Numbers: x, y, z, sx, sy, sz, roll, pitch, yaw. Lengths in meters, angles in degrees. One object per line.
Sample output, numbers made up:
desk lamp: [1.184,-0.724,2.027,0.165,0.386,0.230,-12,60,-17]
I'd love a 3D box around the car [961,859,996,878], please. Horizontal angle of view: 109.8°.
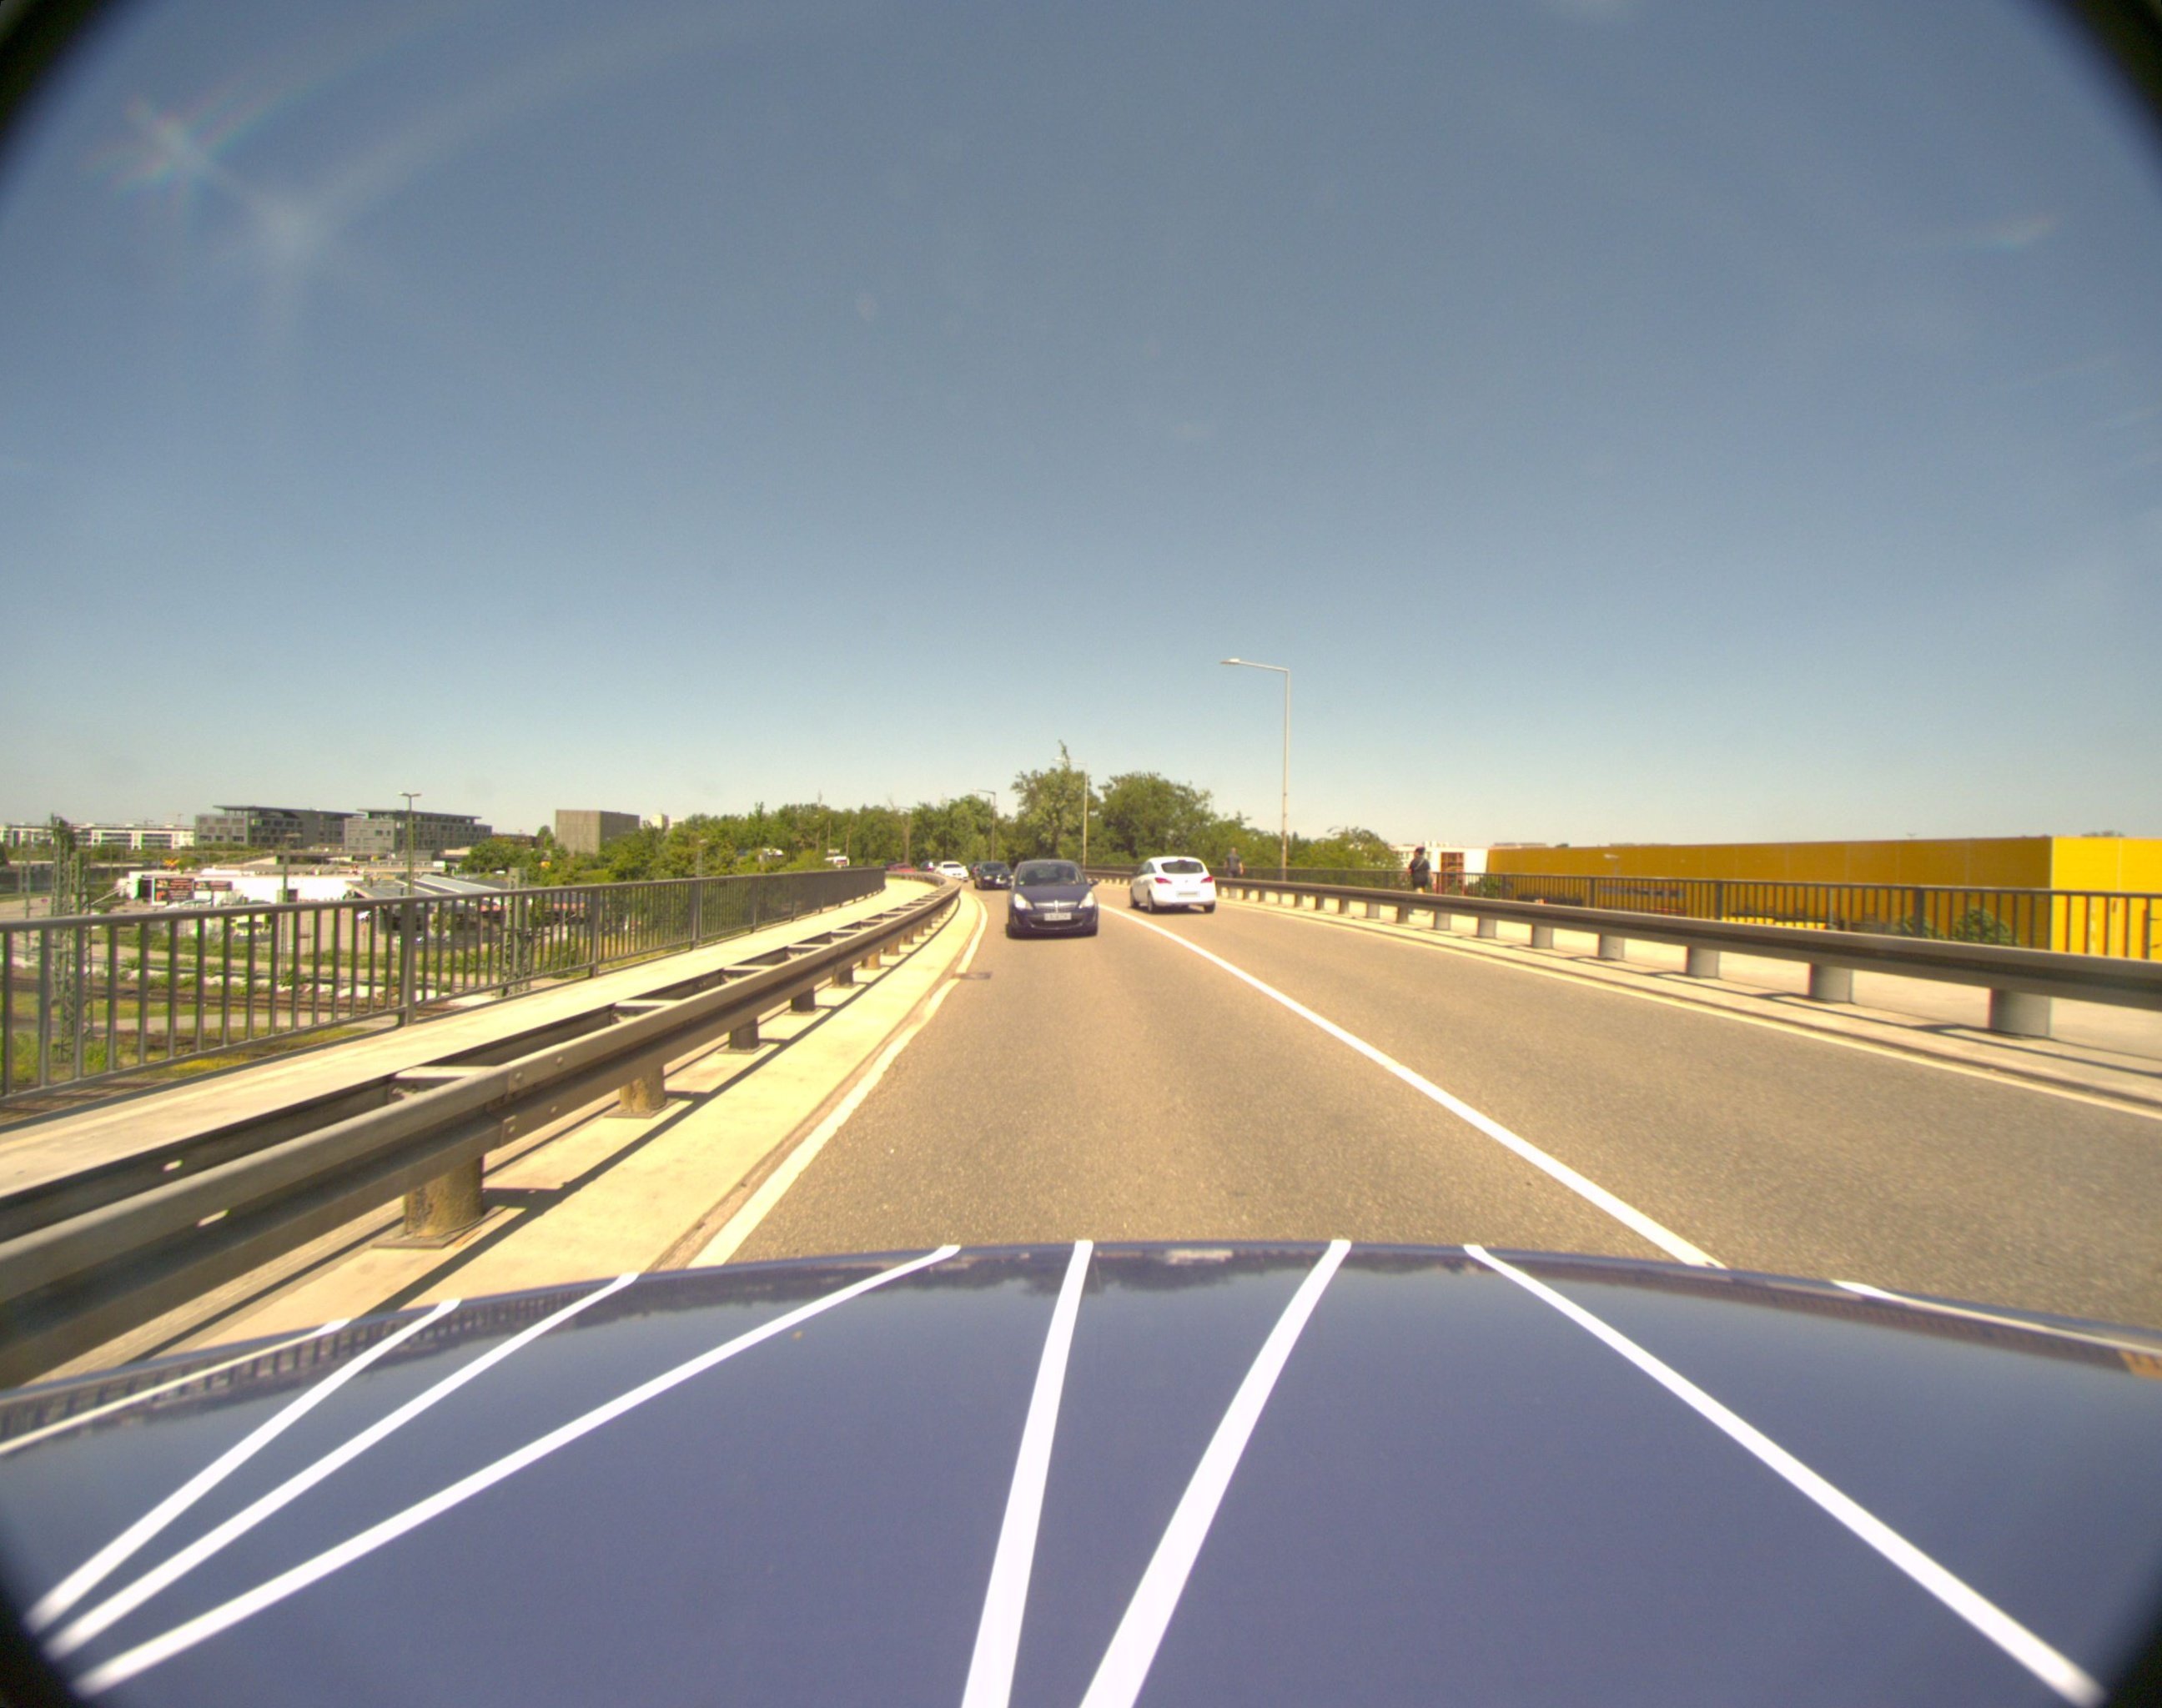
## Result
car: [-8.248,1.118,60.692,1.797,1.411,3.765,0,1,-24]

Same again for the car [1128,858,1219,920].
car: [2.436,0.888,20.977,1.730,1.475,3.864,0,1,-5]

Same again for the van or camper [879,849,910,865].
van or camper: [-21.335,0.337,86.701,2.003,1.750,4.686,-1,1,-33]

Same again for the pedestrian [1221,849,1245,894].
pedestrian: [6.182,0.704,30.894,0.640,1.772,0.811,-2,1,-12]

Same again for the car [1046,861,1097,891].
car: [-0.573,1.118,40.755,1.796,1.407,4.569,0,1,-13]

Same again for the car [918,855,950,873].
car: [-14.407,0.924,74.364,1.904,1.645,4.247,-1,1,-28]

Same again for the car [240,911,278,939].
car: [-81.367,7.004,75.264,4.915,2.339,2.156,-2,4,44]

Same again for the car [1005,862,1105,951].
car: [-0.602,0.931,15.463,1.699,1.459,4.381,-2,0,-4]

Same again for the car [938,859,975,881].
car: [-8.652,1.075,52.655,1.819,1.419,3.709,-2,0,-20]

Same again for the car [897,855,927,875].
car: [-15.710,1.007,70.427,1.904,1.645,4.248,-1,1,-24]

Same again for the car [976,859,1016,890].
car: [-4.370,1.000,38.636,1.571,1.408,4.118,-2,0,-13]

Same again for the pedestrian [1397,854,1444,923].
pedestrian: [7.803,0.777,17.488,0.716,1.552,0.694,0,1,-3]

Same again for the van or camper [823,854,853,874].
van or camper: [-32.953,1.357,102.996,2.058,2.523,5.868,-2,1,-36]
